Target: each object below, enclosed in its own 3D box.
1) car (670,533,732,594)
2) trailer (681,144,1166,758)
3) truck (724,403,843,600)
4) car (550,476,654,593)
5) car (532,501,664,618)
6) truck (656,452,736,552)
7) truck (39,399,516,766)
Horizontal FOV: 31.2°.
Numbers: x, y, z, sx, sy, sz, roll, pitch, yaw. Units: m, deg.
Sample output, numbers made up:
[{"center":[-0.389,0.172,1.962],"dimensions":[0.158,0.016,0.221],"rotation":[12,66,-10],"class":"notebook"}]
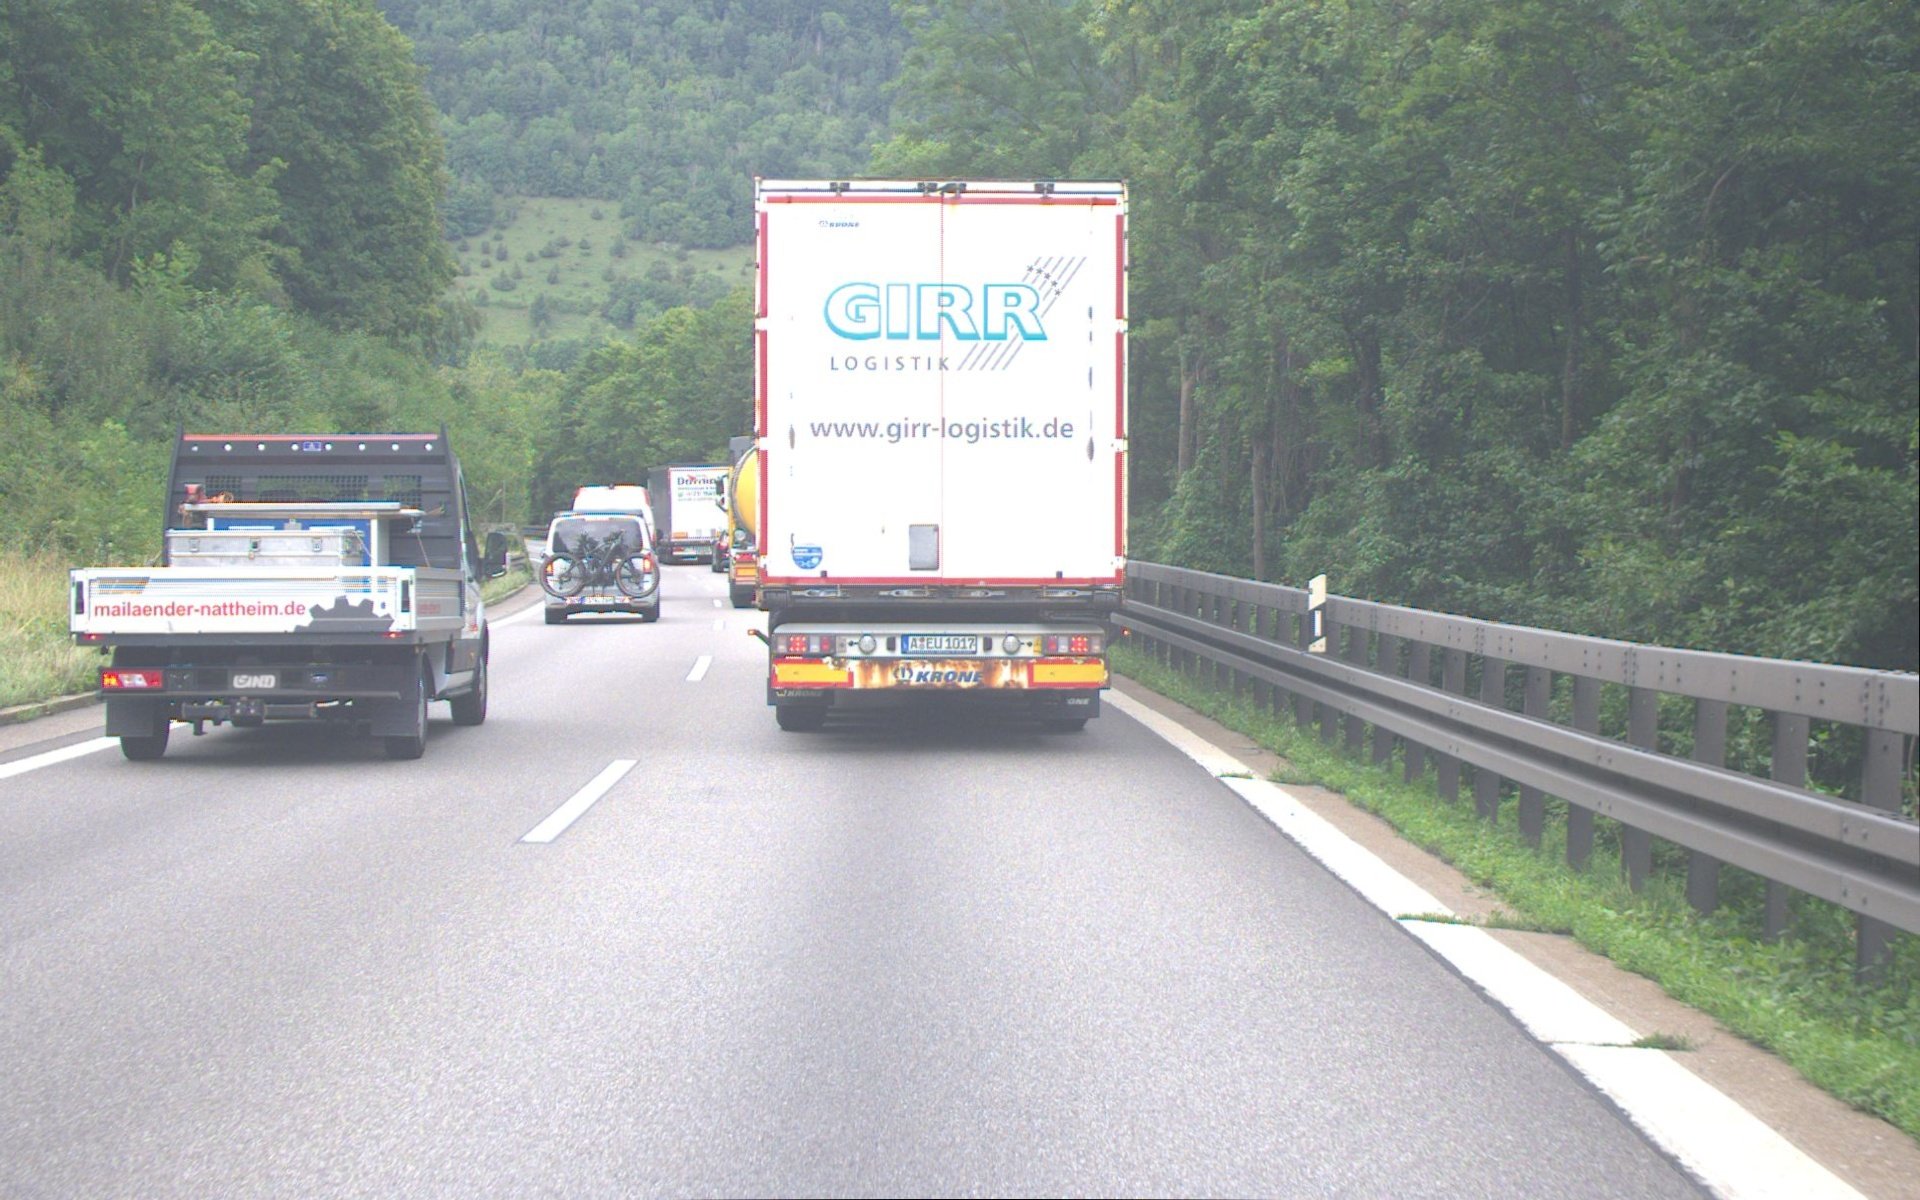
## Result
[{"center":[-8.846,-1.267,117.164],"dimensions":[1.993,2.007,4.001],"rotation":[1,1,-6],"class":"car"},{"center":[-0.421,-1.123,27.972],"dimensions":[3.133,4.029,9.441],"rotation":[2,1,-2],"class":"trailer"},{"center":[-3.596,-1.964,70.011],"dimensions":[2.233,3.791,6.824],"rotation":[1,1,-3],"class":"truck"},{"center":[-8.179,-1.530,79.036],"dimensions":[2.123,2.589,5.564],"rotation":[0,1,-3],"class":"car"},{"center":[-6.200,-0.738,59.465],"dimensions":[2.018,1.907,5.564],"rotation":[1,1,-4],"class":"car"},{"center":[-10.686,-3.896,138.737],"dimensions":[3.068,3.864,8.460],"rotation":[1,1,-5],"class":"truck"},{"center":[-4.719,-0.185,24.974],"dimensions":[2.349,2.266,6.850],"rotation":[1,1,-2],"class":"truck"}]
